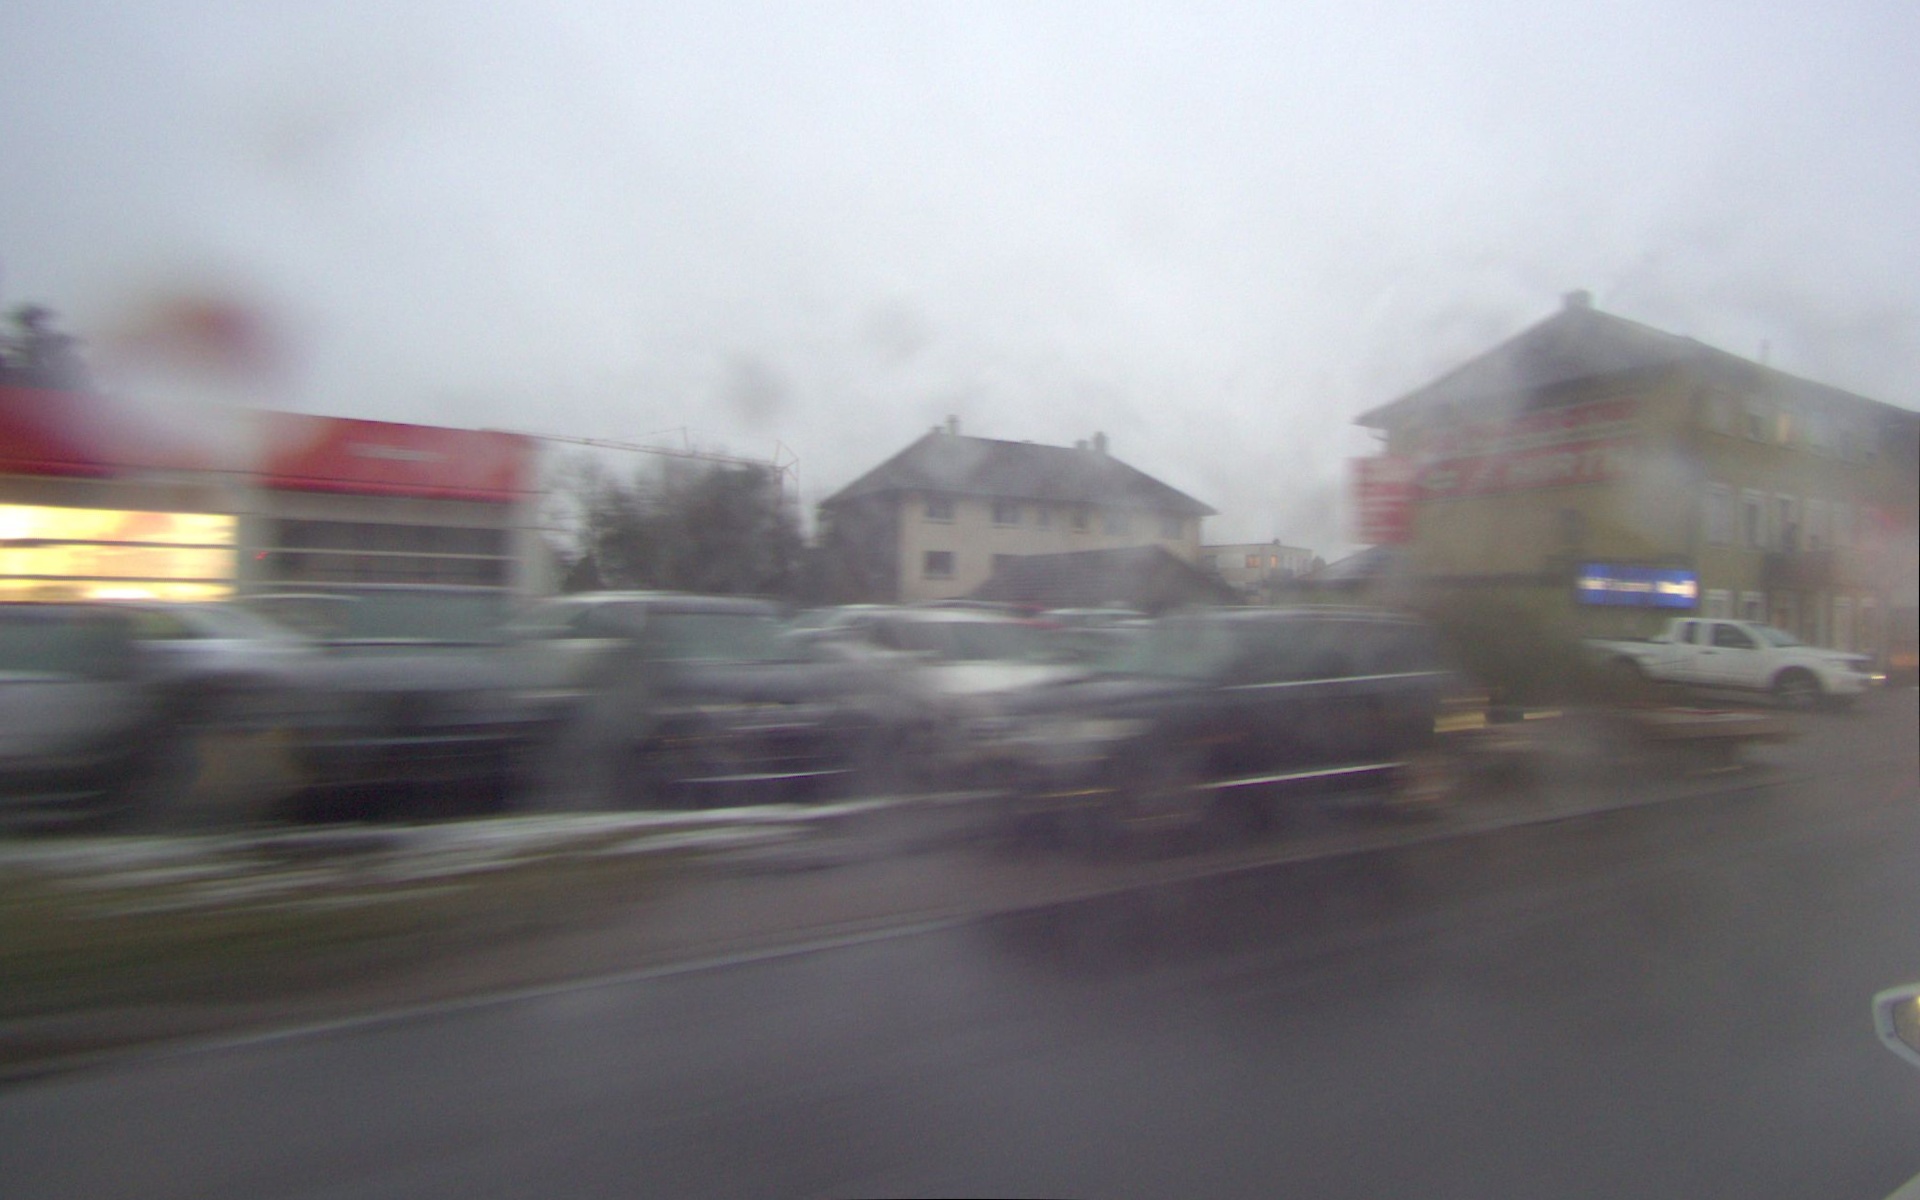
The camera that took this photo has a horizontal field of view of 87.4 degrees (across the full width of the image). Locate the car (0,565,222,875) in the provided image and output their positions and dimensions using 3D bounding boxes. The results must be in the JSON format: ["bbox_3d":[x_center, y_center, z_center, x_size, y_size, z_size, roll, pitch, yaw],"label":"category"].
[{"bbox_3d":[-6.926,0.634,7.317,1.976,1.685,4.256,1,2,-30],"label":"car"}]

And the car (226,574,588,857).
[{"bbox_3d":[-4.670,0.691,8.619,2.111,1.685,4.256,1,2,-30],"label":"car"}]

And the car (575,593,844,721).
[{"bbox_3d":[-4.156,0.904,16.773,3.955,1.893,1.983,2,-1,-31],"label":"car"}]

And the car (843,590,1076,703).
[{"bbox_3d":[0.004,0.848,18.969,3.955,1.929,1.983,2,-1,-31],"label":"car"}]

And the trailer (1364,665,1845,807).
[{"bbox_3d":[7.269,1.330,11.082,6.032,1.052,1.984,1,-2,-31],"label":"trailer"}]

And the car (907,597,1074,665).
[{"bbox_3d":[0.817,0.810,26.329,3.955,1.646,1.983,2,-1,-31],"label":"car"}]

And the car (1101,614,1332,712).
[{"bbox_3d":[4.801,1.112,18.706,3.955,1.646,1.983,2,-1,-31],"label":"car"}]

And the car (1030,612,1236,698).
[{"bbox_3d":[3.649,1.115,21.091,3.955,1.646,1.983,2,-1,-31],"label":"car"}]

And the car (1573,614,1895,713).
[{"bbox_3d":[16.374,1.244,21.627,1.975,1.814,5.168,1,-1,-28],"label":"car"}]

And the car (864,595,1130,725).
[{"bbox_3d":[0.630,0.930,16.579,3.955,1.893,1.983,2,-1,-31],"label":"car"}]

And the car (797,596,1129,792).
[{"bbox_3d":[-0.190,0.884,11.638,1.976,1.649,4.256,1,2,-30],"label":"car"}]

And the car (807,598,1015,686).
[{"bbox_3d":[-1.000,0.839,20.990,3.953,1.646,1.789,1,1,-30],"label":"car"}]

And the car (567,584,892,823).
[{"bbox_3d":[-2.493,0.773,9.909,1.976,1.685,4.256,1,2,-30],"label":"car"}]

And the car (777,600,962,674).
[{"bbox_3d":[-2.039,0.833,22.958,3.860,1.550,1.727,2,-1,-30],"label":"car"}]

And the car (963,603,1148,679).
[{"bbox_3d":[2.276,0.944,23.677,3.955,1.646,1.983,2,-1,-31],"label":"car"}]

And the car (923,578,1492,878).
[{"bbox_3d":[2.110,0.852,8.235,4.460,1.855,1.961,1,-2,-31],"label":"car"}]

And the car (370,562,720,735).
[{"bbox_3d":[-5.380,0.595,13.106,3.955,1.929,1.983,2,-1,-31],"label":"car"}]

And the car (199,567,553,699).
[{"bbox_3d":[-8.431,0.439,14.837,4.241,1.685,1.928,1,2,-31],"label":"car"}]

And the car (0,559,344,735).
[{"bbox_3d":[-9.250,0.444,10.956,4.241,1.685,1.928,1,2,-31],"label":"car"}]

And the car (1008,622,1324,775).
[{"bbox_3d":[2.339,1.066,12.384,1.699,1.447,3.876,1,0,-29],"label":"car"}]
